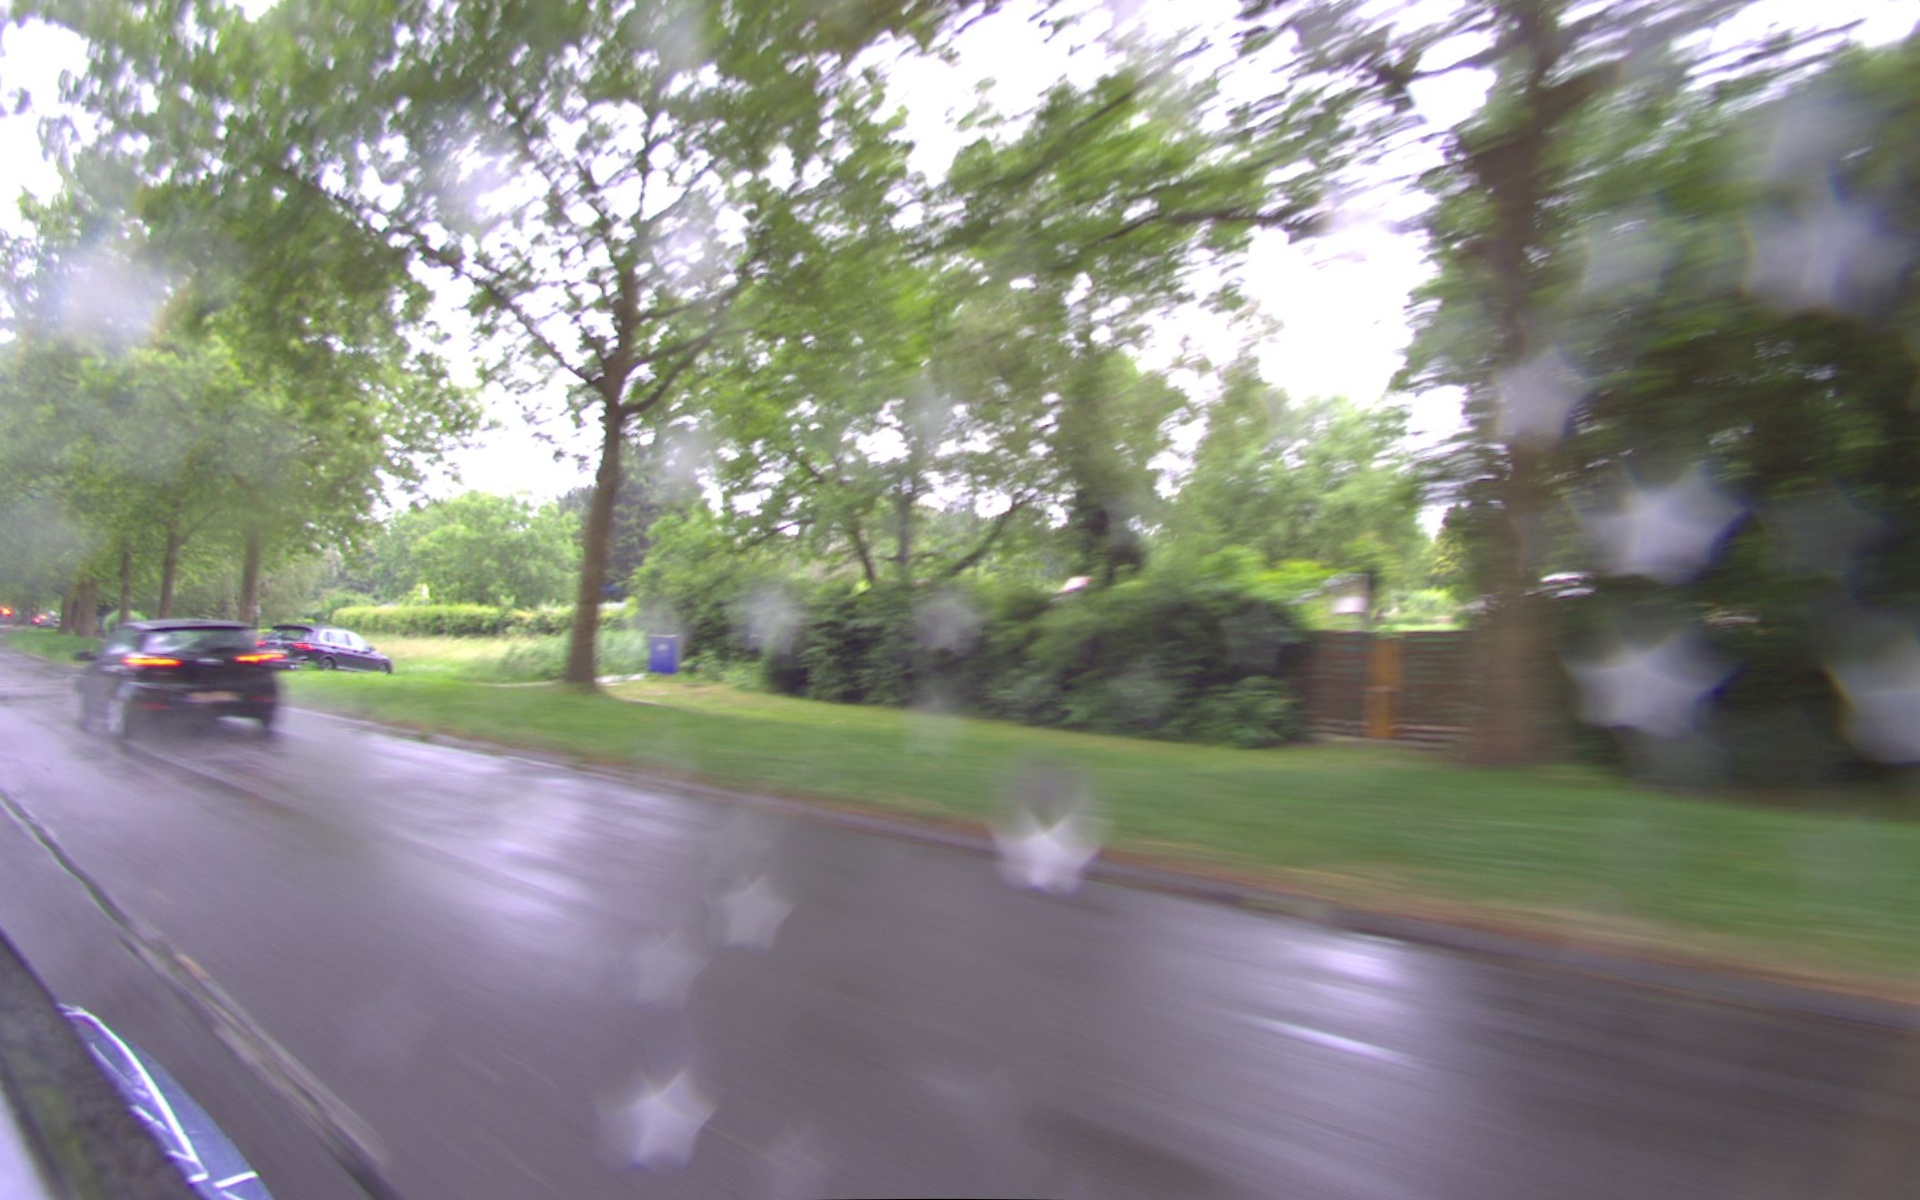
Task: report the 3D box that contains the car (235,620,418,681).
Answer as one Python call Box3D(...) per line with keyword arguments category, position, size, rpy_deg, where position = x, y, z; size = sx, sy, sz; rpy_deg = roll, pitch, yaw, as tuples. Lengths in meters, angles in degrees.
Box3D(category="car", position=(-18.181, 1.540, 29.294), size=(1.726, 1.600, 4.276), rpy_deg=(-3, -5, 23))

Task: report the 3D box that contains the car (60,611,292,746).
Box3D(category="car", position=(-10.525, 0.929, 13.496), size=(3.879, 1.497, 1.689), rpy_deg=(-1, 0, 41))

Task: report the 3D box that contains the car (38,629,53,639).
Box3D(category="car", position=(-158.114, 5.827, 174.981), size=(1.841, 1.763, 5.020), rpy_deg=(1, -2, -43))

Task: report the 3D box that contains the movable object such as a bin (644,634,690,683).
Box3D(category="movable object such as a bin", position=(-8.988, 1.784, 31.030), size=(0.965, 1.433, 0.953), rpy_deg=(-2, 0, 41))
